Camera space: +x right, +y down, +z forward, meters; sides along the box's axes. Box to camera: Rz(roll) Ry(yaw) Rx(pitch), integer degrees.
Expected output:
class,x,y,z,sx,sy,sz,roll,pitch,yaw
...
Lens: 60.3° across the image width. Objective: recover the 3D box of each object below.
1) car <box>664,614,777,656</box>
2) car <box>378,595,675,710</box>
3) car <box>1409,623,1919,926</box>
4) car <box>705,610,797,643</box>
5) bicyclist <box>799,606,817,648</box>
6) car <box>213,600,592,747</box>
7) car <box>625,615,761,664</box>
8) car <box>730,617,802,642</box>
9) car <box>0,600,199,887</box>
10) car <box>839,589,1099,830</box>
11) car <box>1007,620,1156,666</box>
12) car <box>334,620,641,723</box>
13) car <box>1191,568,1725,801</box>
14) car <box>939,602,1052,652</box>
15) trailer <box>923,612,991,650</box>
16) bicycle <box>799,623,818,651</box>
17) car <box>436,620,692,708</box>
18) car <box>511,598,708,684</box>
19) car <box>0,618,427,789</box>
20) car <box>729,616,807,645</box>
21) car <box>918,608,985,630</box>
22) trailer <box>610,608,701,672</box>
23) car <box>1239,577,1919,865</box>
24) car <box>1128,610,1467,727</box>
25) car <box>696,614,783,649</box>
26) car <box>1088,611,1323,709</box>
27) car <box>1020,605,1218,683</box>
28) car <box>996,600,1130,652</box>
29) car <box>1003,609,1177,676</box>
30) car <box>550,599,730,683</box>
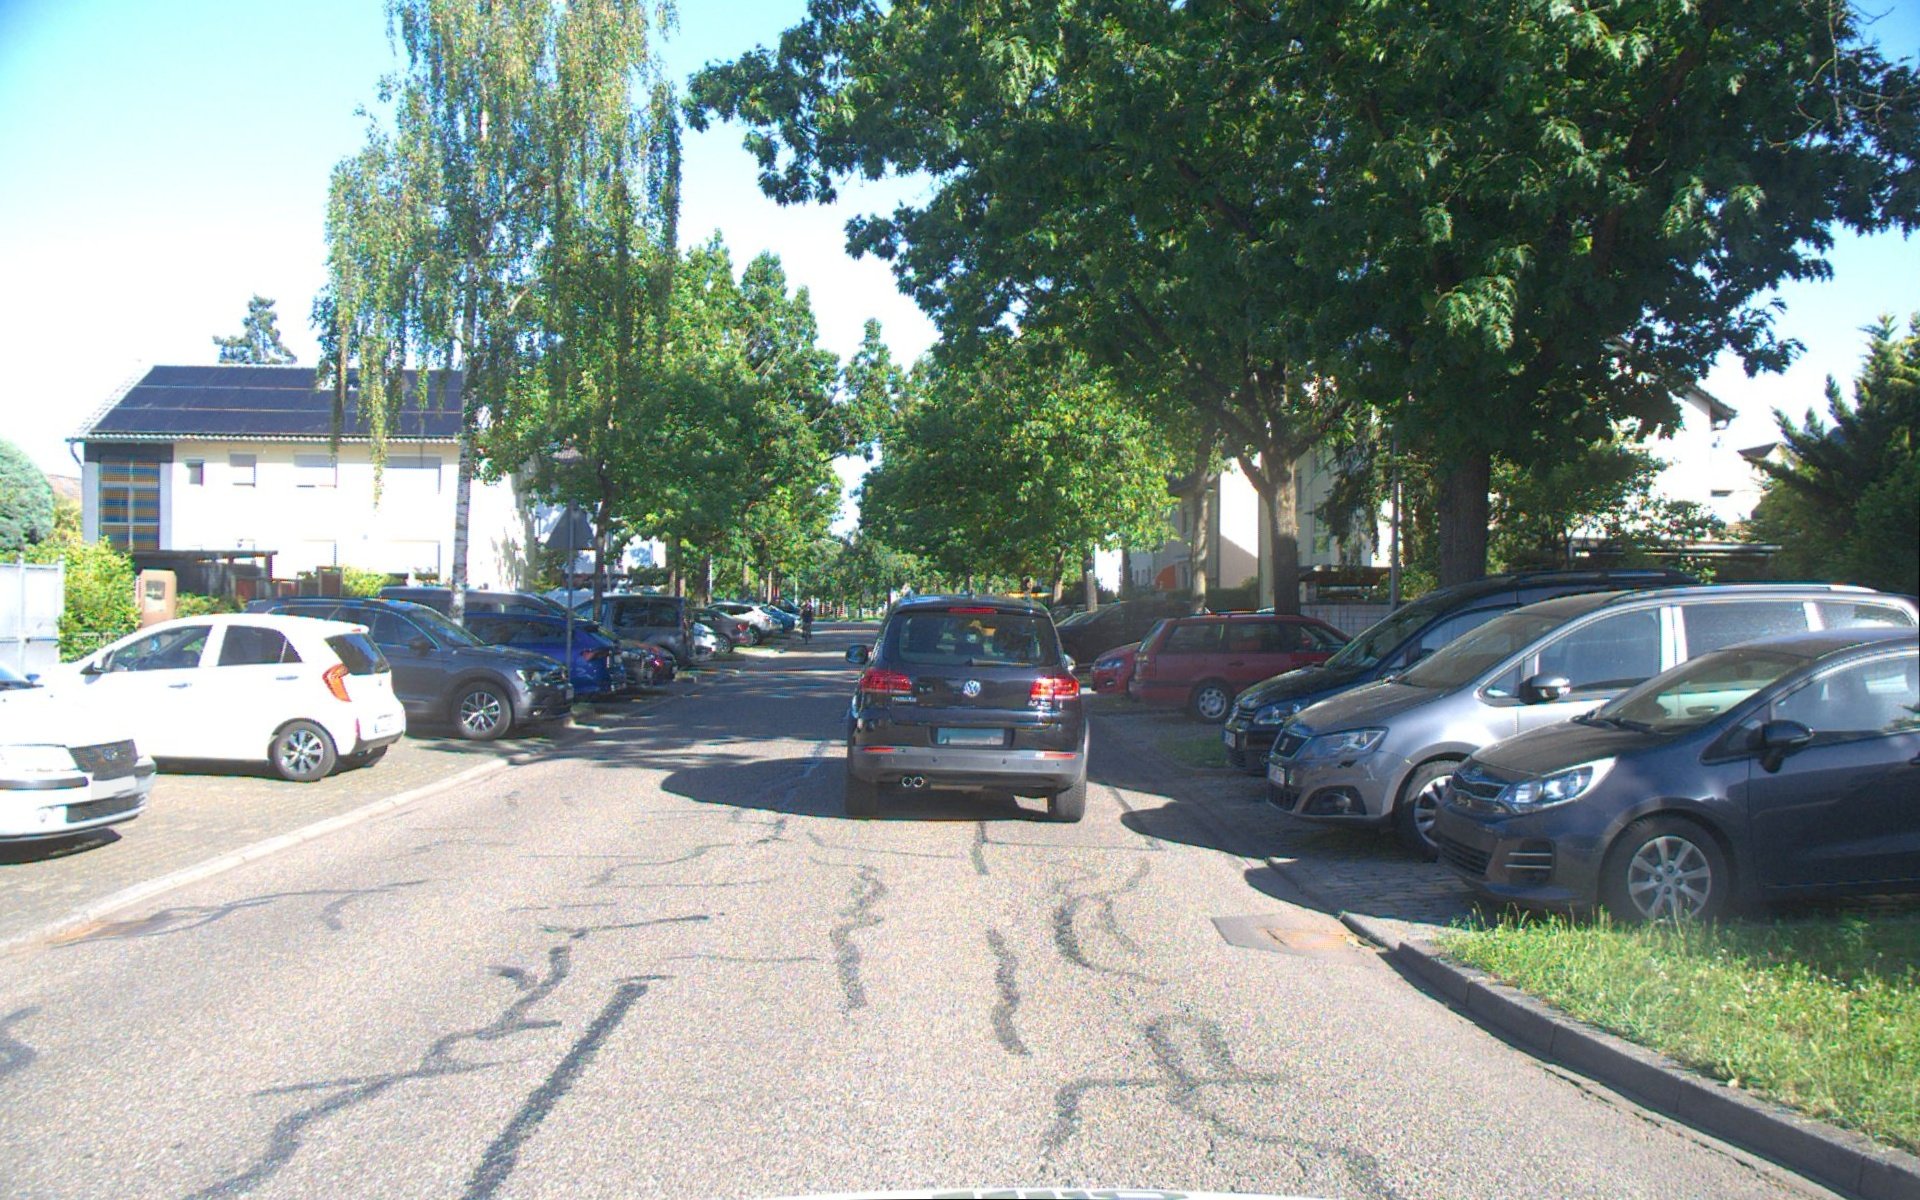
class,x,y,z,sx,sy,sz,roll,pitch,yaw
car,-9.150,1.339,63.340,4.103,1.594,1.791,0,-1,-2
car,-7.322,0.868,28.279,4.580,1.799,1.794,1,0,-3
car,4.606,0.843,8.912,3.865,1.385,1.683,-2,-1,-2
car,-10.467,1.318,83.032,4.434,1.660,1.936,0,-1,-4
bicyclist,-6.220,1.099,67.718,0.584,1.703,0.975,-3,0,-2
car,-6.868,0.890,20.691,4.124,1.754,1.760,0,-1,-1
car,-8.490,1.262,52.918,4.127,1.497,1.689,0,0,-4
car,-11.643,1.756,99.370,4.192,1.504,1.767,0,-1,-5
car,-7.196,0.805,10.529,3.858,1.642,1.706,2,0,0
car,0.011,0.783,13.530,1.801,1.665,3.956,1,-1,-2
car,3.635,1.281,49.995,4.338,1.355,1.690,0,-1,-2
car,-7.157,1.067,25.350,4.184,1.449,1.723,1,0,0
car,4.289,0.714,14.648,4.129,1.813,1.787,-2,-2,-4
car,1.488,1.162,71.303,4.723,2.120,2.084,0,-1,-4
trailer,-0.142,1.423,75.851,2.891,1.693,1.611,0,-1,-10
bicycle,-6.200,1.509,67.749,0.584,1.077,1.985,-3,0,-2
car,-7.289,1.165,30.795,4.390,1.526,1.834,0,0,-6
car,-7.955,0.916,37.924,4.156,1.801,1.965,2,0,-6
car,-7.368,0.946,15.866,3.920,1.541,1.795,0,-1,-1
car,-10.371,1.648,89.585,4.099,1.518,1.645,0,-1,-4
car,-0.550,1.241,109.037,4.261,1.387,1.871,-1,-1,-5
trailer,-8.388,1.087,45.655,2.189,1.703,1.474,0,0,1
car,4.357,0.767,11.536,4.414,1.709,1.877,-2,-1,-4
car,4.728,0.960,23.605,4.412,1.471,1.837,-2,-2,-2
car,-10.374,1.477,78.094,3.908,1.623,1.856,0,-1,-4
car,4.152,1.017,28.369,3.701,1.510,1.755,-2,-2,-2
car,3.778,1.039,39.829,4.483,1.675,1.837,-2,0,-3
car,3.409,0.862,55.249,4.252,1.587,1.866,-2,0,-4
car,3.329,1.086,42.860,4.234,1.556,1.839,-2,0,-4
car,-7.797,0.993,40.667,4.154,1.978,1.997,0,-1,-6
